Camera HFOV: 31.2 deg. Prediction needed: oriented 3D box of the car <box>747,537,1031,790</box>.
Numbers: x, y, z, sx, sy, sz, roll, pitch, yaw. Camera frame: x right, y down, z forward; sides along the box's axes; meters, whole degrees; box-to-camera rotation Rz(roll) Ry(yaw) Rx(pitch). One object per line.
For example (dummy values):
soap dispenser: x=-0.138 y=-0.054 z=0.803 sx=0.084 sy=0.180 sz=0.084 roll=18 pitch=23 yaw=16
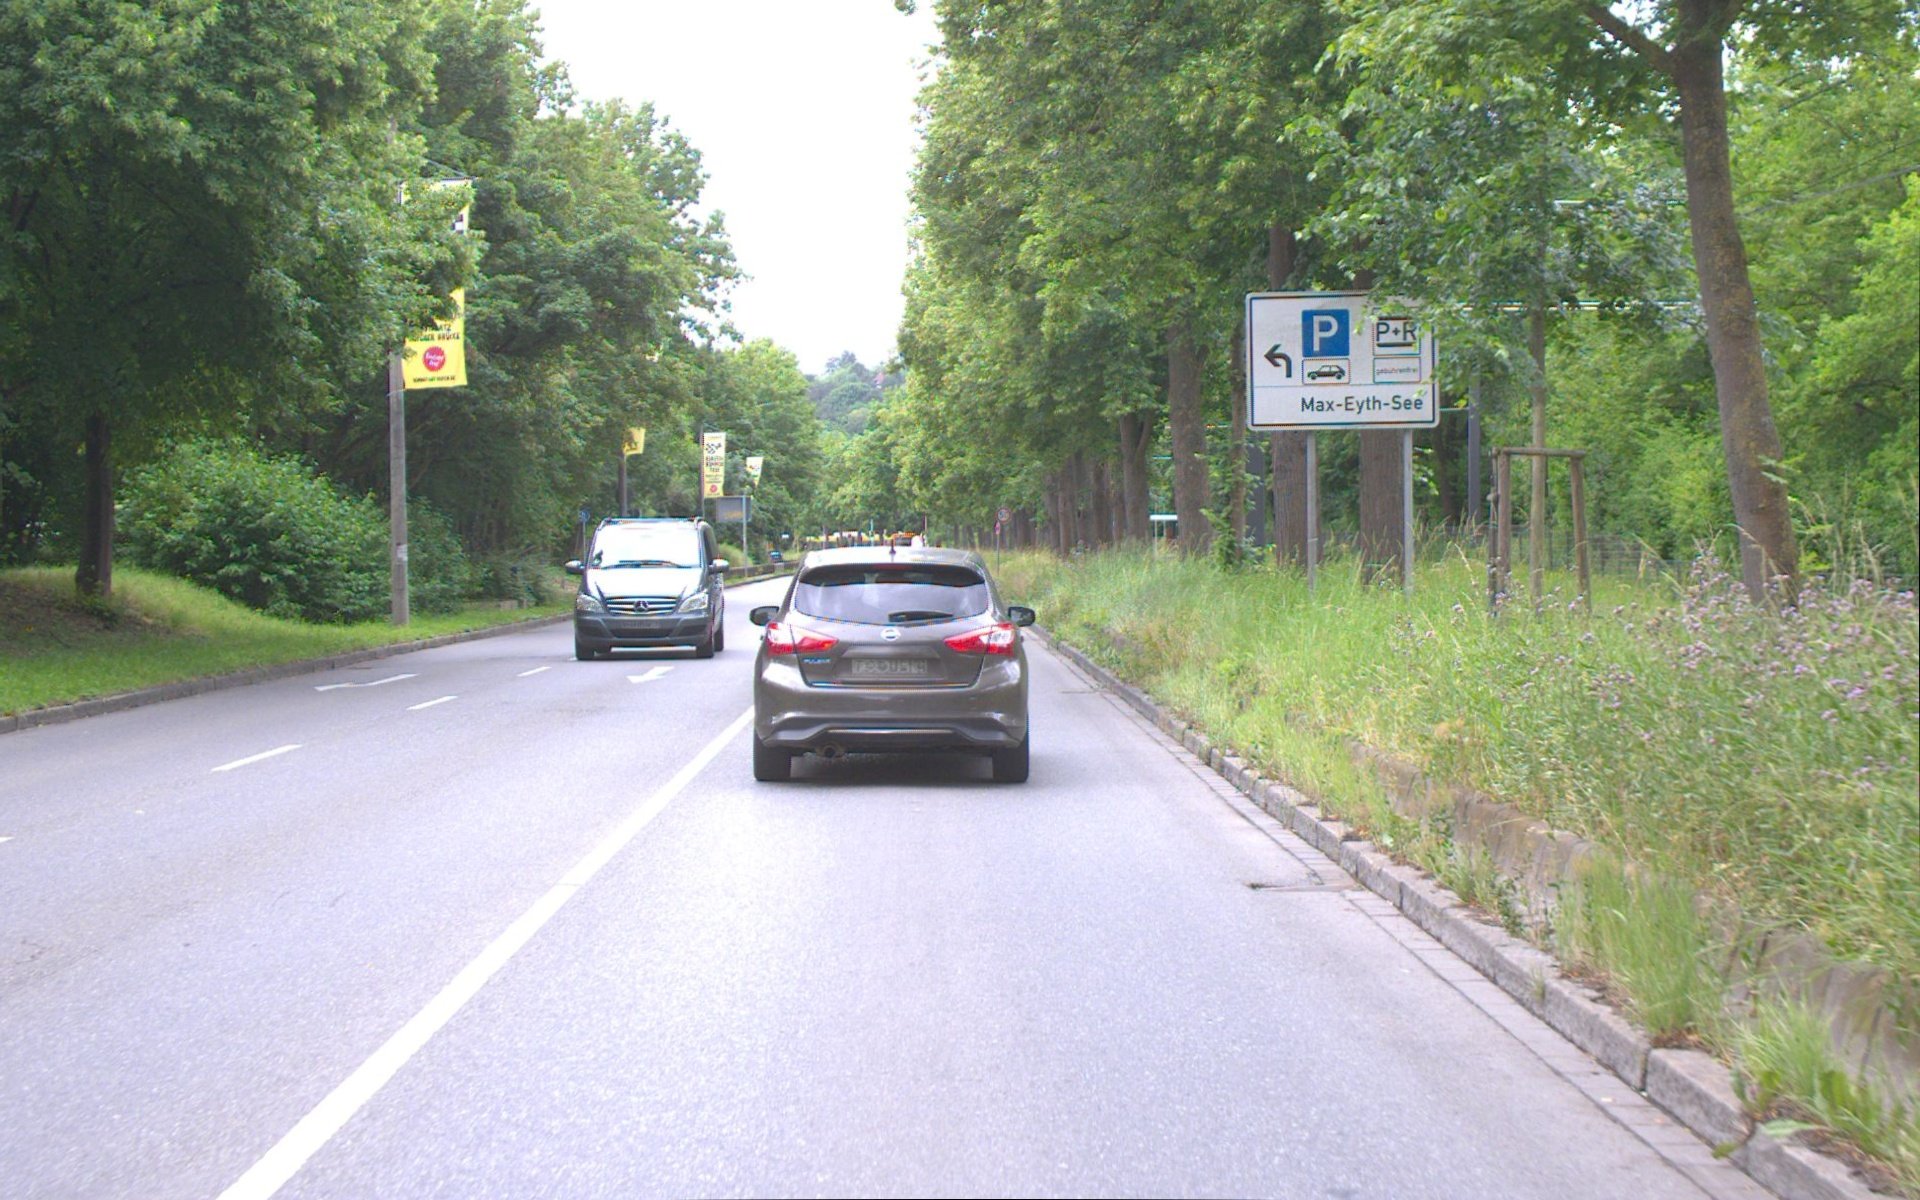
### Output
car: x=-0.476 y=0.367 z=22.998 sx=1.730 sy=1.532 sz=3.552 roll=1 pitch=1 yaw=-1

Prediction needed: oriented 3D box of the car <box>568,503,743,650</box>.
car: x=-4.216 y=-0.344 z=48.310 sx=1.993 sy=1.949 sz=5.184 roll=0 pitch=1 yaw=0

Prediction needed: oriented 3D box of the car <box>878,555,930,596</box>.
car: x=-1.991 y=-0.895 z=122.979 sx=1.561 sy=1.436 sz=3.551 roll=1 pitch=1 yaw=3

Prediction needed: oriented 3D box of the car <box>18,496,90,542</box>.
car: x=-29.933 y=-2.670 z=113.475 sx=1.645 sy=1.481 sz=4.001 roll=1 pitch=1 yaw=-24
